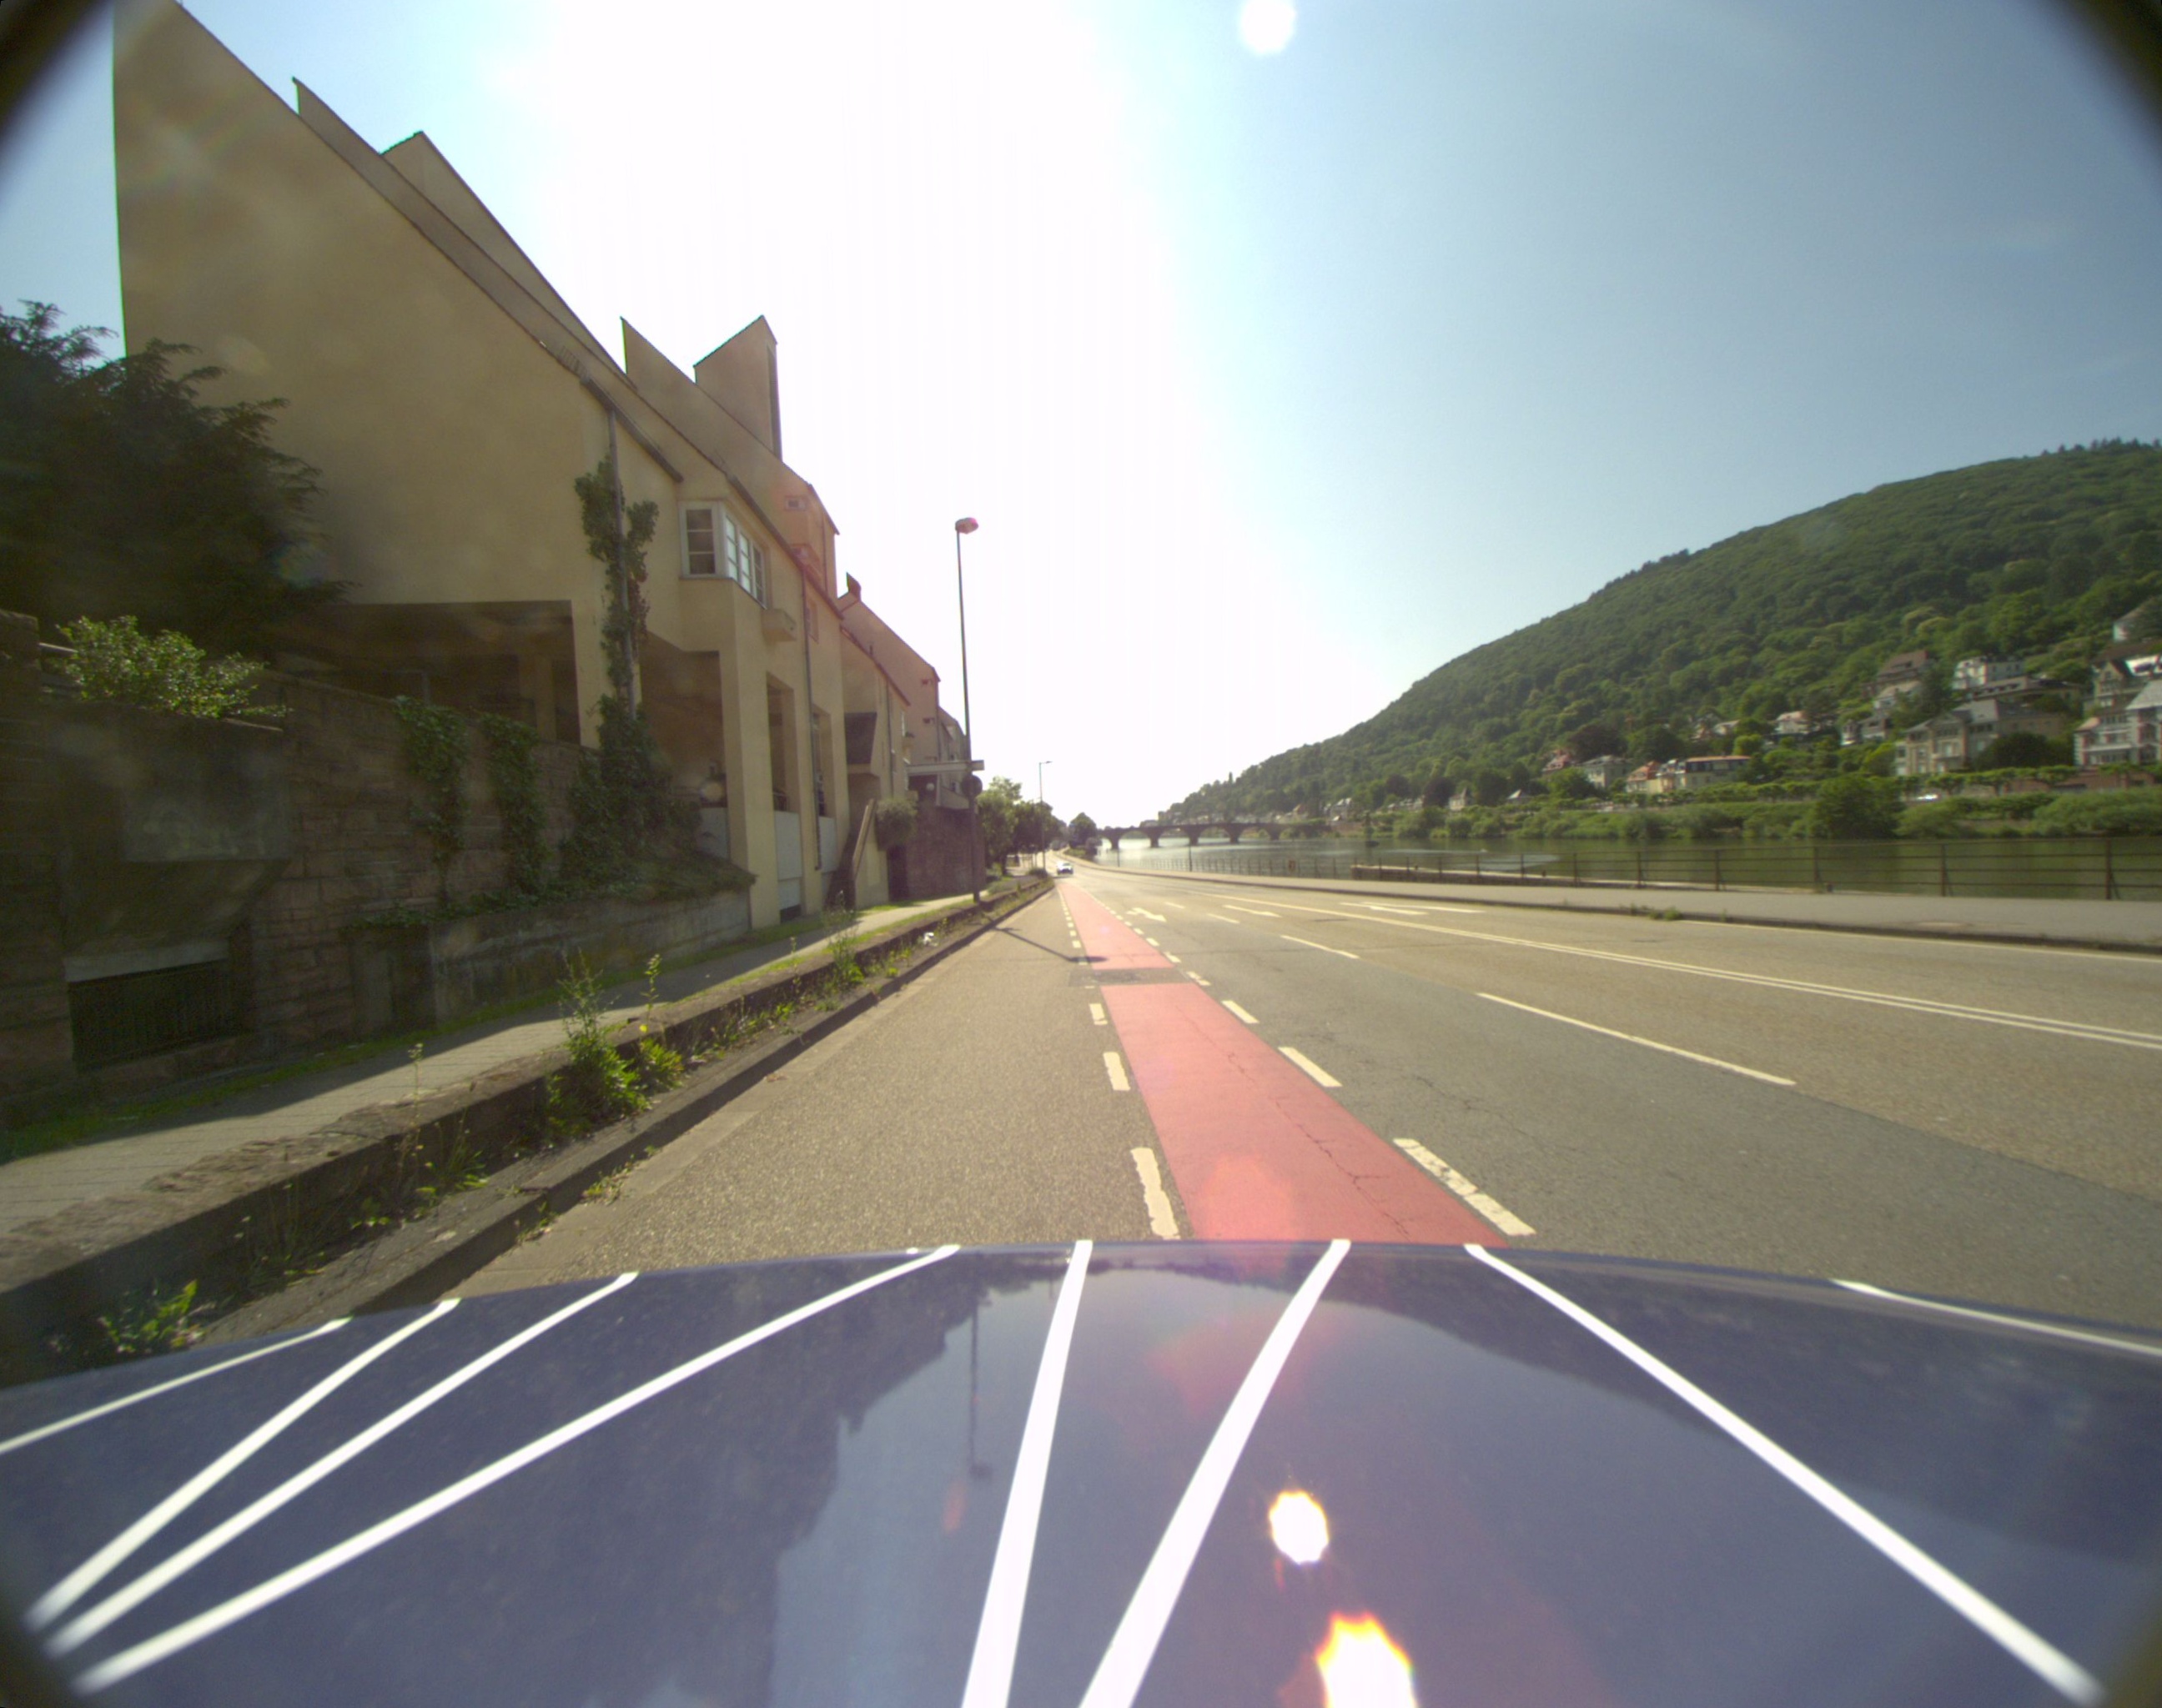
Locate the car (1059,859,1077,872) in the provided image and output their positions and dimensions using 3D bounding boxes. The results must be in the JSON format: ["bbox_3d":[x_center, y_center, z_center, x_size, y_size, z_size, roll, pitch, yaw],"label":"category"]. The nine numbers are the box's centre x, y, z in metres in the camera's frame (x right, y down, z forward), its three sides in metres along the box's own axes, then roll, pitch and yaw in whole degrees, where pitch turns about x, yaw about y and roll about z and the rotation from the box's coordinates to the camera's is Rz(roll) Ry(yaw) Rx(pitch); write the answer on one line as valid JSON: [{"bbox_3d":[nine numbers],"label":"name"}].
[{"bbox_3d":[-1.562,1.332,88.761,1.999,1.433,3.999,-1,0,-2],"label":"car"}]
